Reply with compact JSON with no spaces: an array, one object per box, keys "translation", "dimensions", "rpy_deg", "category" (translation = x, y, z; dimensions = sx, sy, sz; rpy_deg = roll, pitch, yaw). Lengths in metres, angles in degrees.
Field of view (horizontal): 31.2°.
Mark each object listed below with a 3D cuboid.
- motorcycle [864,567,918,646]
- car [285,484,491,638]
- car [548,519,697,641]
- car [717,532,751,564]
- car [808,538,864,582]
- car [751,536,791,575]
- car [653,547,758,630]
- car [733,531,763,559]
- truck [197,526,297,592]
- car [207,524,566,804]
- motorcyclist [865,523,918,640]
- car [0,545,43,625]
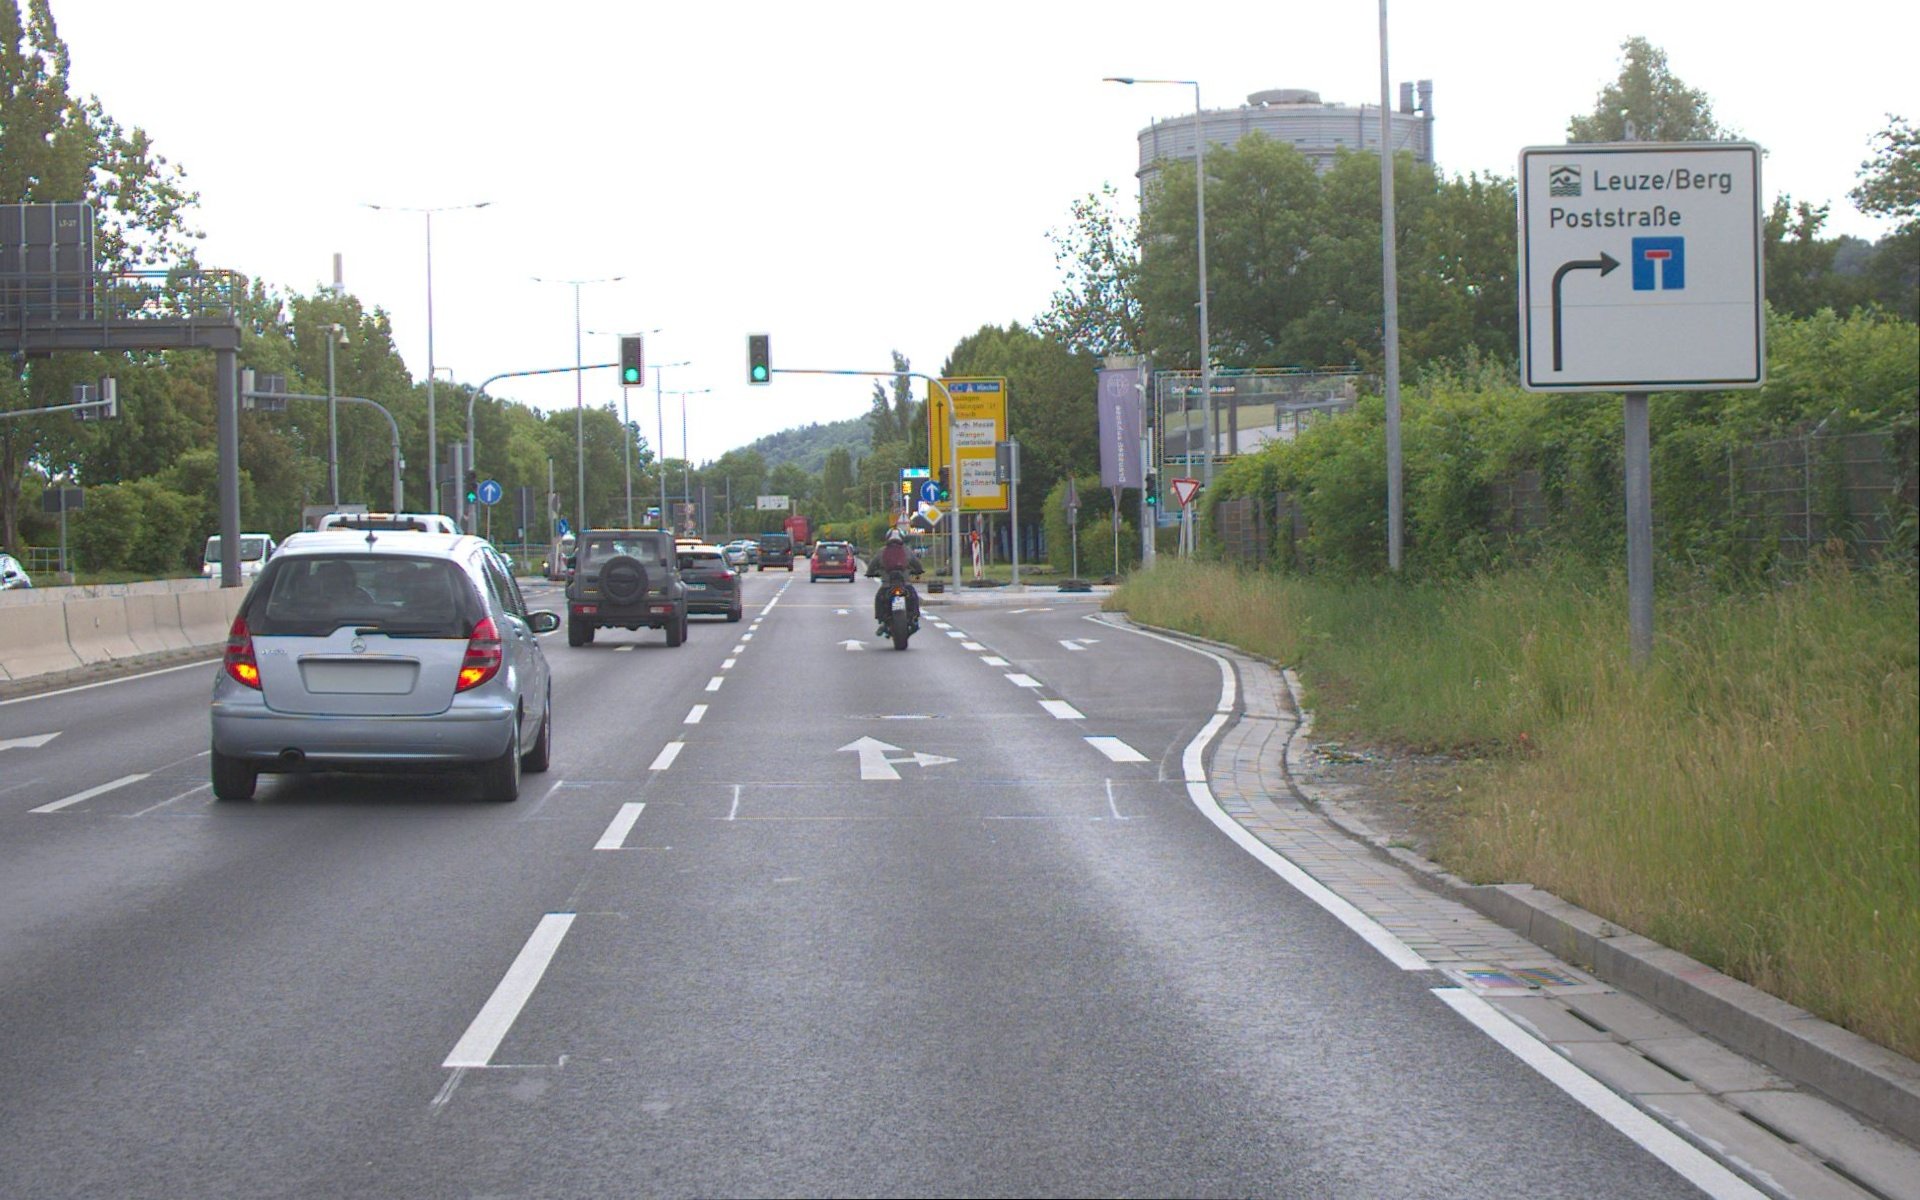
[{"translation":[-0.947,0.079,47.717],"dimensions":[0.706,1.036,2.027],"rpy_deg":[1,1,-1],"category":"motorcycle"},{"translation":[-7.628,-0.561,46.310],"dimensions":[2.214,1.919,5.003],"rpy_deg":[1,1,-4],"category":"car"},{"translation":[-4.921,-0.332,50.560],"dimensions":[1.907,1.678,4.001],"rpy_deg":[1,1,-2],"category":"car"},{"translation":[-14.724,-3.401,224.284],"dimensions":[1.993,2.007,4.001],"rpy_deg":[1,1,-2],"category":"car"},{"translation":[-4.646,-1.499,128.388],"dimensions":[1.993,1.546,4.001],"rpy_deg":[1,1,-3],"category":"car"},{"translation":[-10.173,-2.397,184.956],"dimensions":[1.993,2.007,4.001],"rpy_deg":[1,1,-2],"category":"car"},{"translation":[-4.812,-0.245,65.327],"dimensions":[1.840,1.459,4.001],"rpy_deg":[1,1,-2],"category":"car"},{"translation":[-15.397,-4.006,249.909],"dimensions":[1.993,2.007,4.001],"rpy_deg":[1,1,-2],"category":"car"},{"translation":[-22.886,-1.340,110.577],"dimensions":[2.204,2.007,6.303],"rpy_deg":[1,1,-3],"category":"truck"},{"translation":[-3.438,0.317,21.240],"dimensions":[1.710,1.525,4.001],"rpy_deg":[1,1,-3],"category":"car"},{"translation":[-0.948,-0.267,47.782],"dimensions":[0.684,1.604,0.845],"rpy_deg":[1,1,-1],"category":"motorcyclist"},{"translation":[-21.953,-0.369,76.961],"dimensions":[1.877,1.677,4.126],"rpy_deg":[1,1,-2],"category":"car"}]
